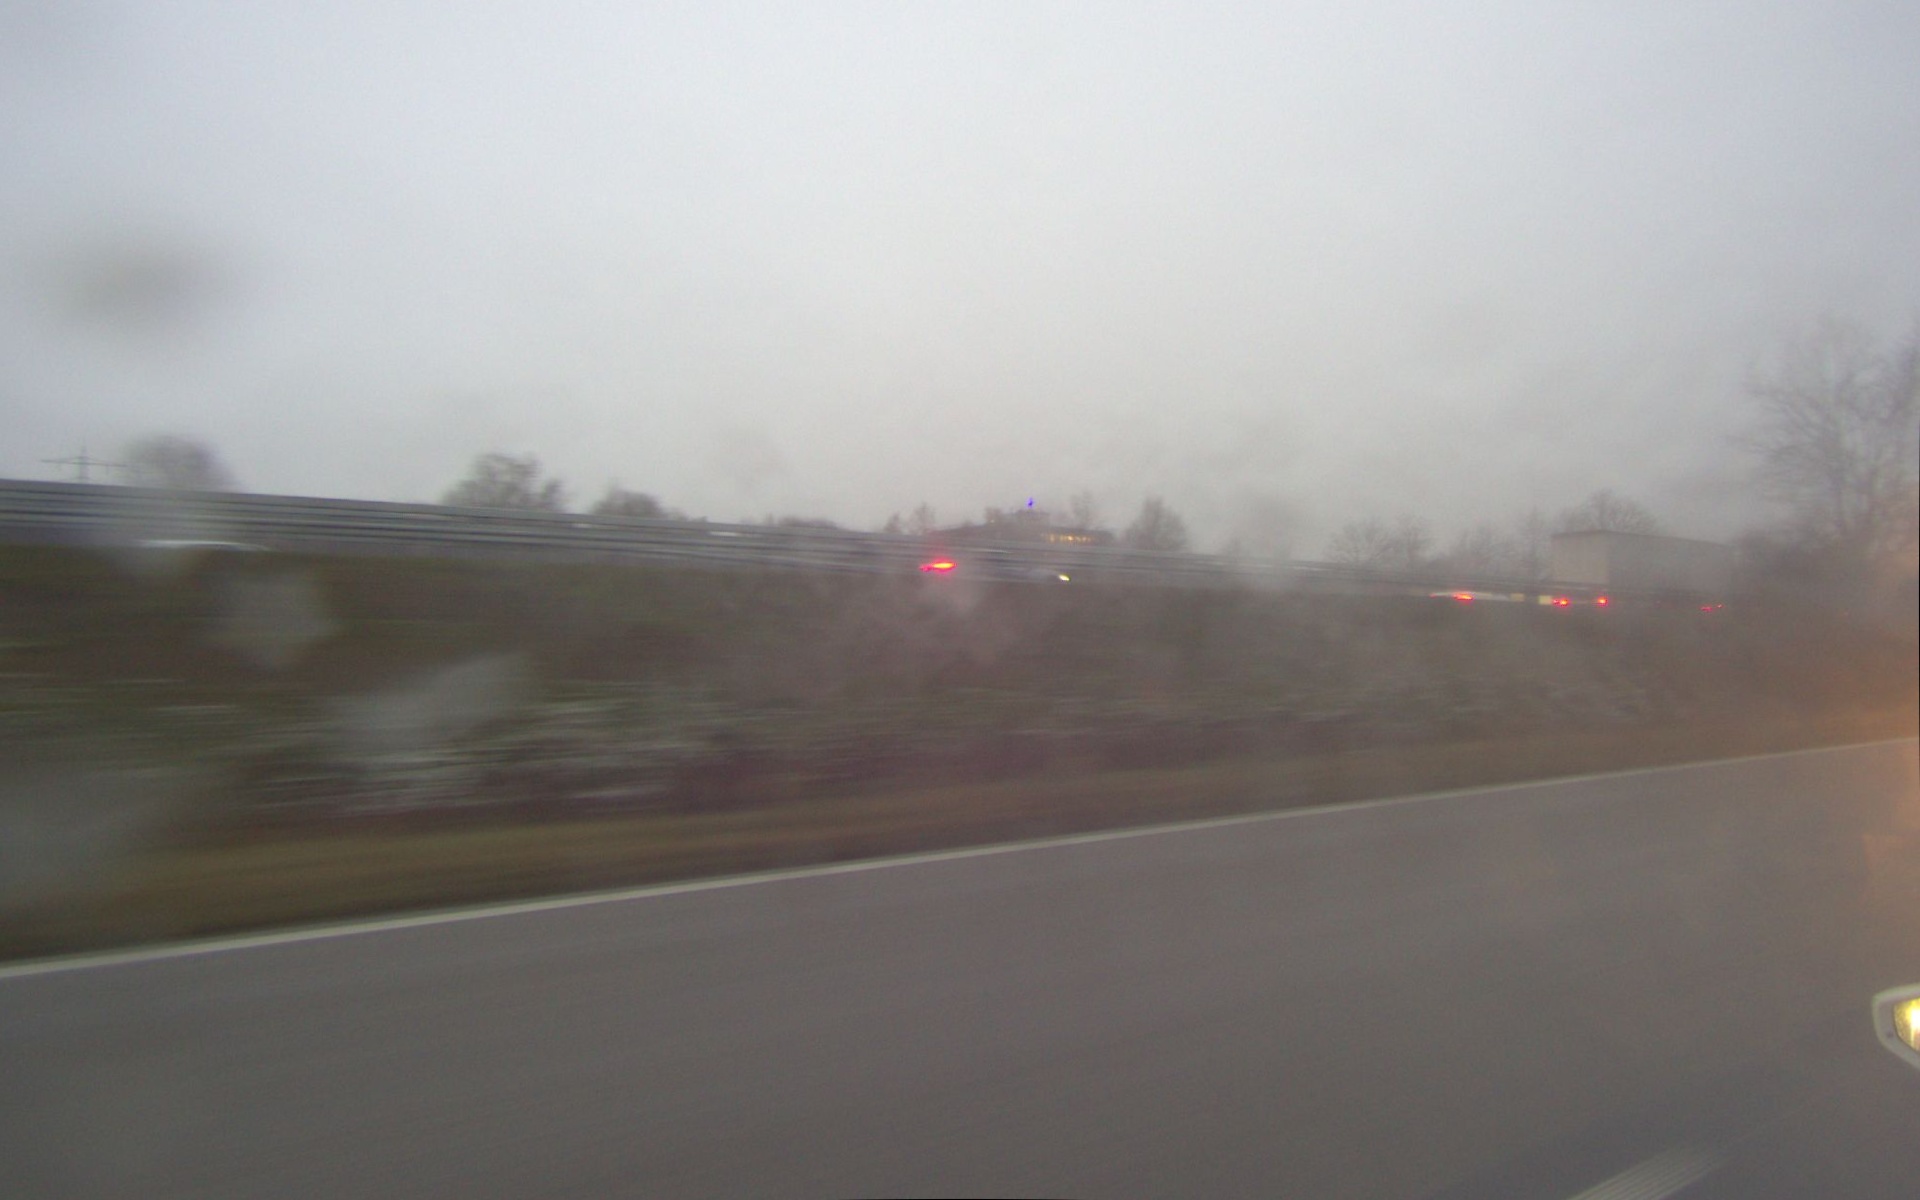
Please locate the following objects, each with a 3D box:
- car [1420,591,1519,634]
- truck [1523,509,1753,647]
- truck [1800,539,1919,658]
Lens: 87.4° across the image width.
[{"bbox_3d":[25.621,0.637,50.474,5.043,2.040,1.984,2,0,-29],"label":"car"},{"bbox_3d":[35.765,-0.859,52.568,15.560,6.372,3.744,2,0,-31],"label":"truck"},{"bbox_3d":[75.405,0.354,81.207,39.882,7.815,7.469,2,0,-44],"label":"truck"}]
